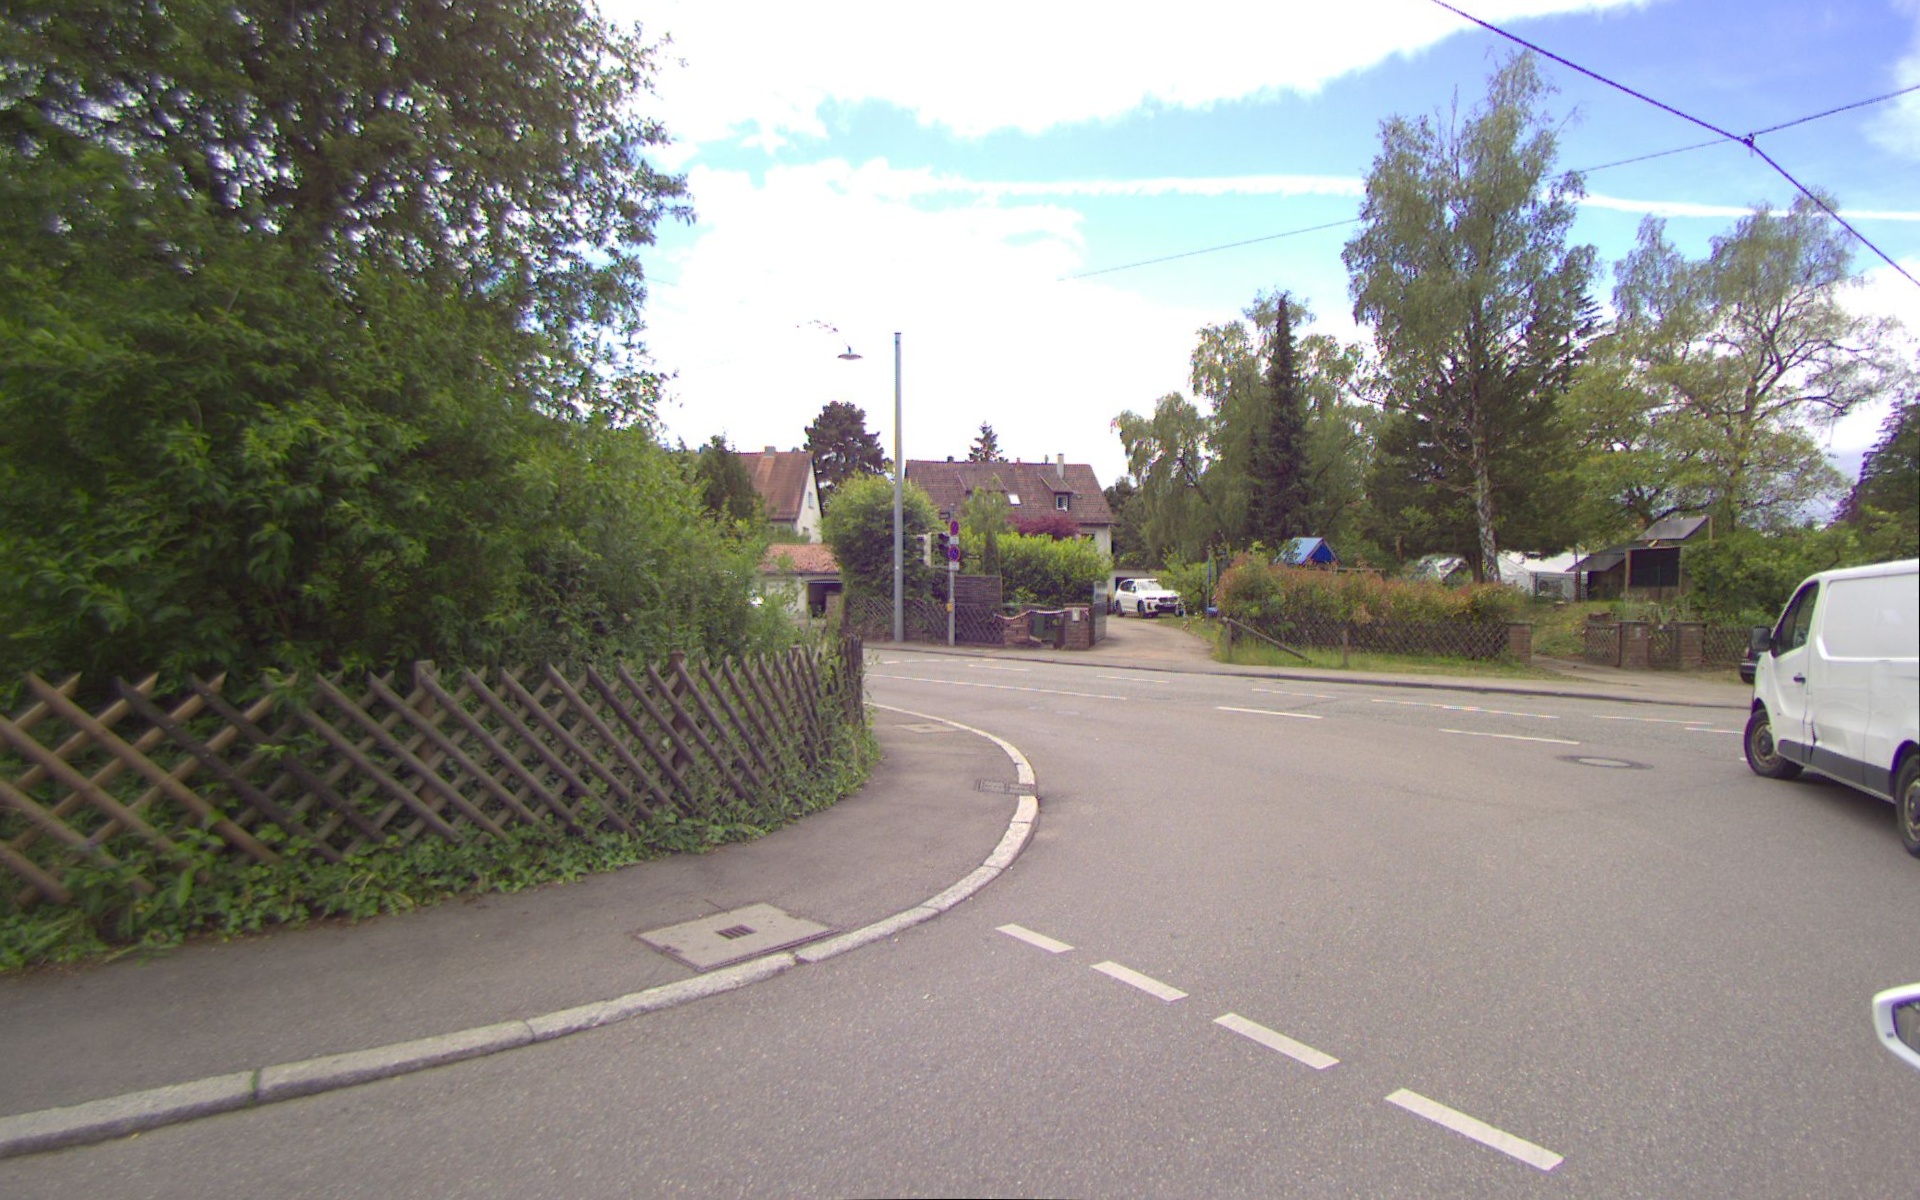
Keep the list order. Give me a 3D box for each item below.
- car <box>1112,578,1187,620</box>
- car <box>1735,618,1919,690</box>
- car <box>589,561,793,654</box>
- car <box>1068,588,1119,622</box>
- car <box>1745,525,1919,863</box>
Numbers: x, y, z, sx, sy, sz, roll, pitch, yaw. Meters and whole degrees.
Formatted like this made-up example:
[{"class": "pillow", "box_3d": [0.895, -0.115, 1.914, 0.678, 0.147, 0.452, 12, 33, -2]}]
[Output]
[{"class": "car", "box_3d": [8.104, -0.073, 43.257, 1.963, 1.680, 4.338, -2, 1, -6]}, {"class": "car", "box_3d": [20.651, 1.269, 23.789, 3.480, 1.468, 1.699, 2, 2, -11]}, {"class": "car", "box_3d": [-6.584, 0.110, 24.302, 5.114, 2.005, 1.993, 2, 1, 36]}, {"class": "car", "box_3d": [6.982, 0.231, 52.880, 1.961, 1.680, 4.341, 0, 1, -2]}, {"class": "car", "box_3d": [7.515, 0.603, 7.304, 1.887, 2.080, 4.609, 1, 0, 26]}]
